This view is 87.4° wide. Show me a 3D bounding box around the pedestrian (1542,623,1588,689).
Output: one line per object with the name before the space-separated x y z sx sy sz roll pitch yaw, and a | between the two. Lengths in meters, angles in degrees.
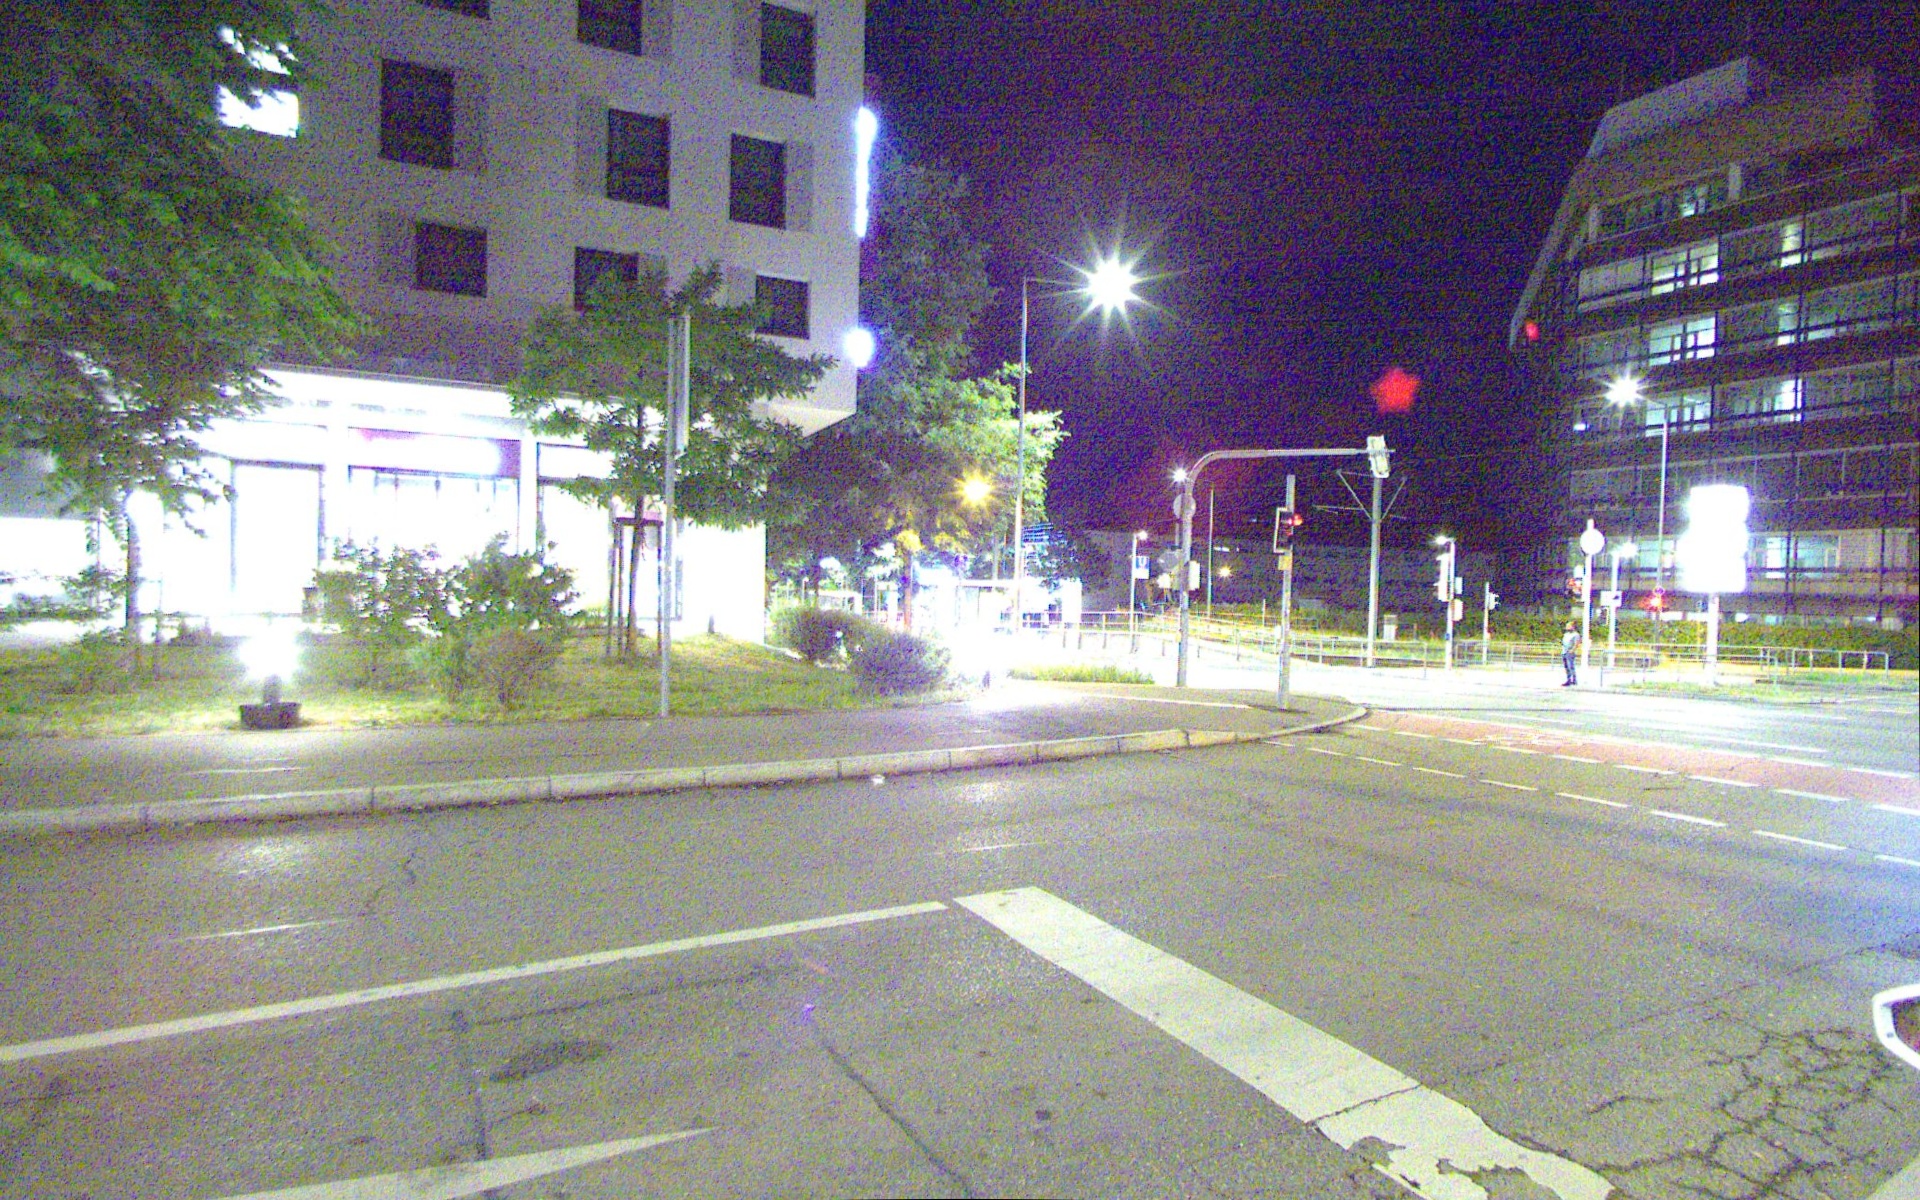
pedestrian | 15.488 1.422 25.709 0.854 1.656 0.665 2 0 -34

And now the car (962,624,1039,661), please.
car | 1.734 1.834 44.208 1.793 1.522 4.177 0 -1 -23

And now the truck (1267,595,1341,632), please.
truck | 30.692 1.169 89.753 2.877 3.129 5.873 2 0 -28

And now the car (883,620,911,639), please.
car | -6.982 3.305 110.968 1.970 2.040 3.982 2 -3 -20
